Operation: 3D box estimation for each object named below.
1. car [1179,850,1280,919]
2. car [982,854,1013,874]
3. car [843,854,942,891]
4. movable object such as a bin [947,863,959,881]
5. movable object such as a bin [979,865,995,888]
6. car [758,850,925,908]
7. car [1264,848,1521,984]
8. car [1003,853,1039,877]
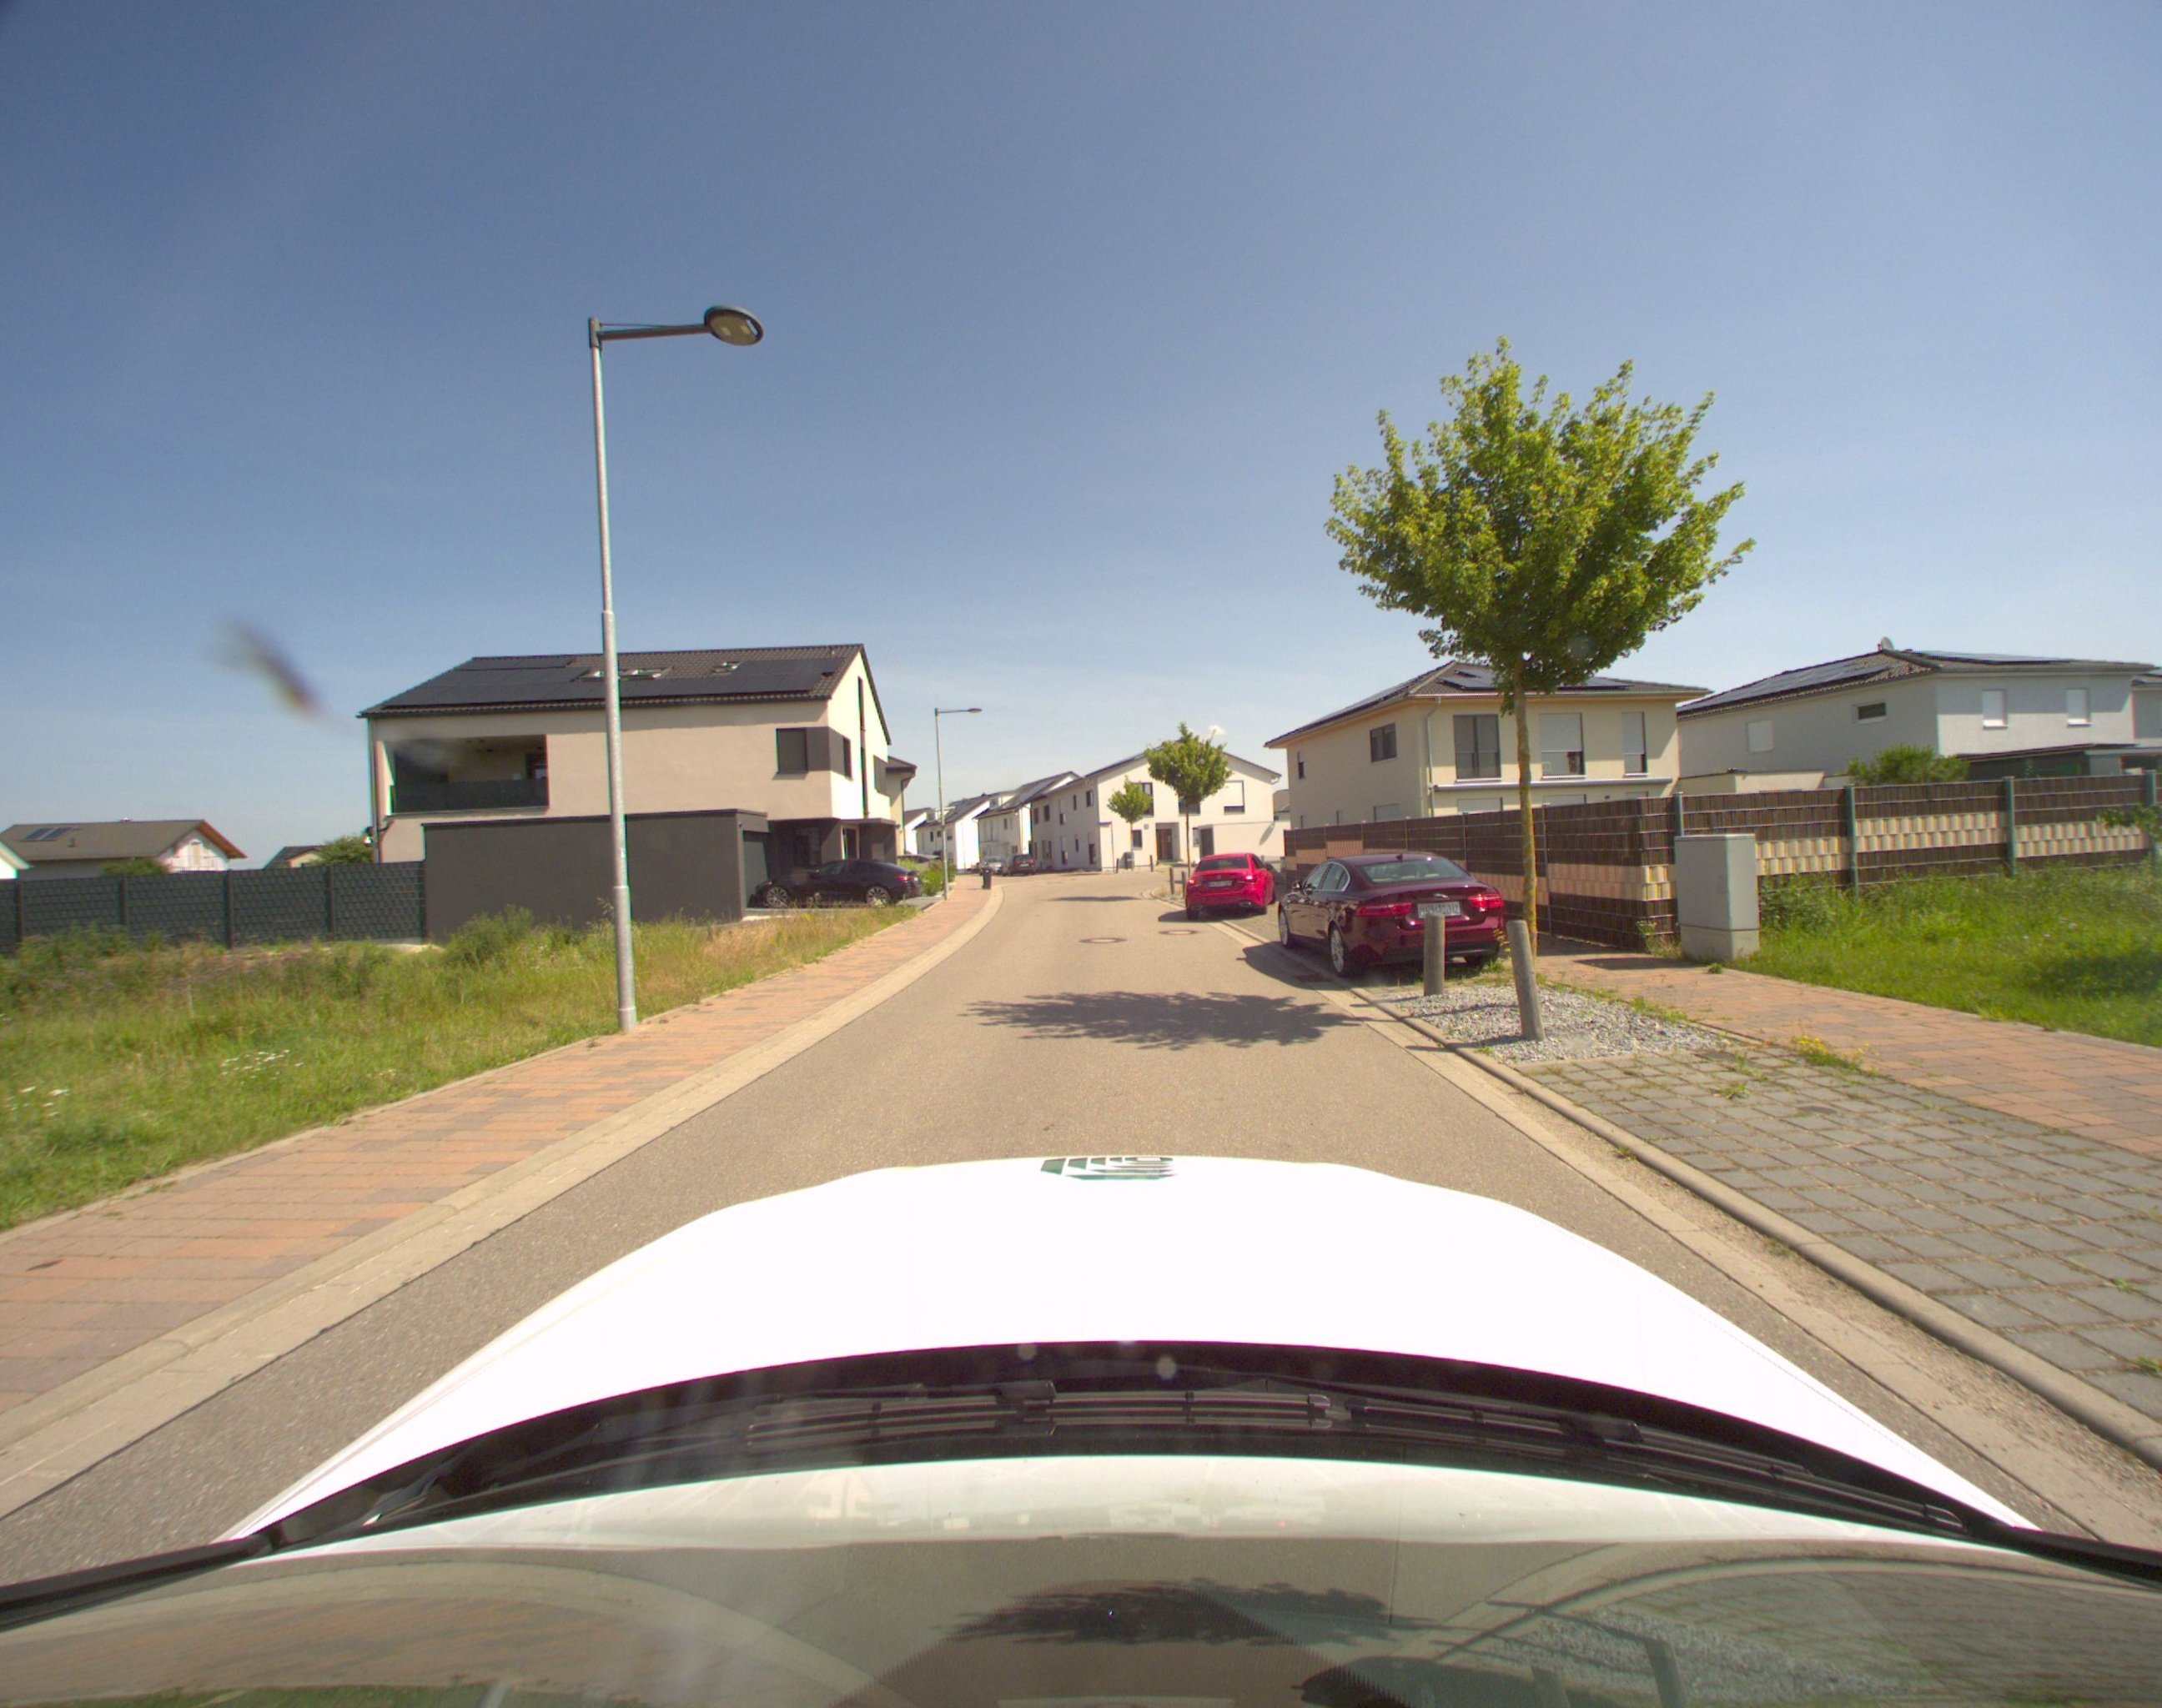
[{"bbox_3d":[3.702,0.666,19.711,1.748,1.438,4.541,-2,0,18],"label":"car"},{"bbox_3d":[-6.570,0.770,63.703,1.681,1.464,3.923,-3,0,-16],"label":"car"},{"bbox_3d":[-8.463,0.803,36.783,3.975,1.486,1.754,-2,0,-1],"label":"car"},{"bbox_3d":[-6.730,0.942,42.734,0.614,0.927,0.422,0,-1,-10],"label":"movable object such as a bin"},{"bbox_3d":[-3.953,0.941,34.202,0.532,0.936,0.527,-1,0,7],"label":"movable object such as a bin"},{"bbox_3d":[-6.940,0.704,23.914,4.365,1.631,1.769,0,0,-3],"label":"car"},{"bbox_3d":[3.852,0.657,11.016,1.748,1.363,4.576,-3,0,1],"label":"car"},{"bbox_3d":[-4.025,0.745,54.029,1.729,1.422,3.981,-3,0,-13],"label":"car"}]
